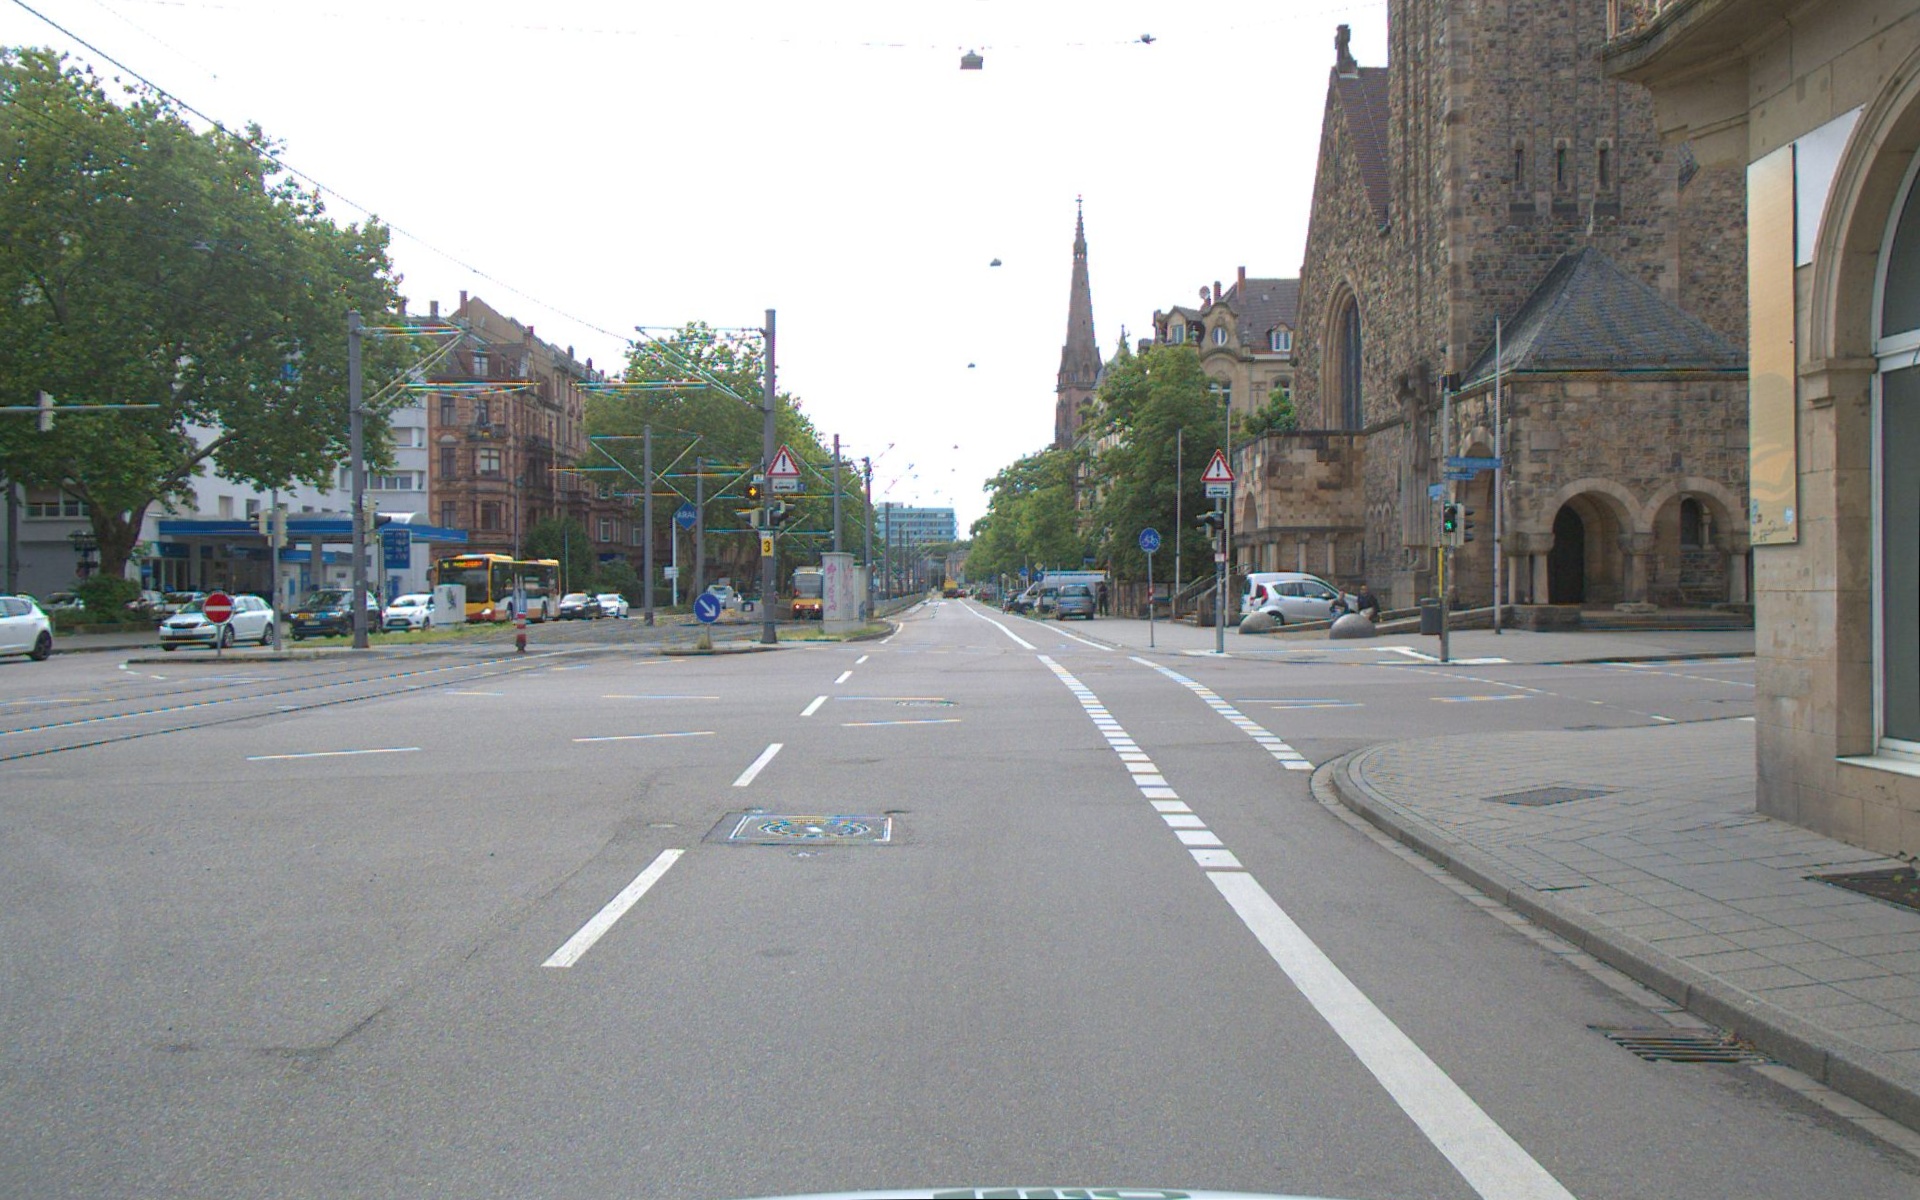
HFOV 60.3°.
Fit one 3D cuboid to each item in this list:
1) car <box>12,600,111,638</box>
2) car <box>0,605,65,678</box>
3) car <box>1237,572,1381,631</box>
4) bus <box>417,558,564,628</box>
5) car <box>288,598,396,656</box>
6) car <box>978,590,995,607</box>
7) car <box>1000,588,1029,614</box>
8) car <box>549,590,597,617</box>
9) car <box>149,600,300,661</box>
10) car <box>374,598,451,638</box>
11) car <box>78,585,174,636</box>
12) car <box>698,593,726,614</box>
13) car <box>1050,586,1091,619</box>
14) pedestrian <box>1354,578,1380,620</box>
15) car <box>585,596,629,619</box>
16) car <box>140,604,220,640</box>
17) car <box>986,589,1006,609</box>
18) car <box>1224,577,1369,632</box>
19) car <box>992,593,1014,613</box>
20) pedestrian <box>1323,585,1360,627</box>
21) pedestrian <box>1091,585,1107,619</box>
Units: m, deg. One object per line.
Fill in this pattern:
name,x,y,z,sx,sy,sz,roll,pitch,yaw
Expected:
car,-37.330,0.768,68.814,1.953,1.492,4.000,-1,1,-1
car,-20.928,0.873,34.818,1.804,1.473,4.413,1,0,-1
car,11.807,0.046,56.177,4.516,1.914,1.662,1,0,-1
bus,-21.347,-0.343,76.163,3.214,2.906,12.380,1,0,0
car,-20.636,0.866,55.434,1.667,1.814,5.149,1,0,0
car,3.250,-0.163,206.046,1.953,2.049,3.999,1,0,-2
car,4.085,0.052,123.959,1.953,1.852,4.000,-1,0,-1
car,-20.988,0.172,89.803,1.667,1.382,3.890,1,0,0
car,-20.794,0.812,47.059,1.803,1.552,5.702,1,0,-1
car,-20.950,0.665,63.424,1.667,1.422,3.890,1,0,0
car,-34.583,0.406,68.673,1.953,2.049,4.000,-1,0,-1
car,-20.486,0.273,136.853,1.667,1.742,3.890,1,0,0
car,5.200,0.108,77.921,1.667,1.484,3.890,1,0,0
pedestrian,12.162,-0.037,49.436,0.721,1.250,1.063,1,0,14
car,-20.668,0.423,96.957,1.667,1.242,3.890,1,0,0
car,-32.177,0.881,68.317,1.667,1.382,3.404,1,0,0
car,3.872,-0.126,178.648,1.953,2.049,3.999,1,0,-2
car,10.679,0.125,52.686,4.260,1.665,1.662,1,0,-1
car,4.151,0.260,160.190,1.953,1.914,4.000,-1,0,-1
pedestrian,11.294,0.168,49.009,0.721,1.212,1.493,1,0,0
pedestrian,6.953,0.094,82.670,0.760,1.676,0.799,1,0,5
